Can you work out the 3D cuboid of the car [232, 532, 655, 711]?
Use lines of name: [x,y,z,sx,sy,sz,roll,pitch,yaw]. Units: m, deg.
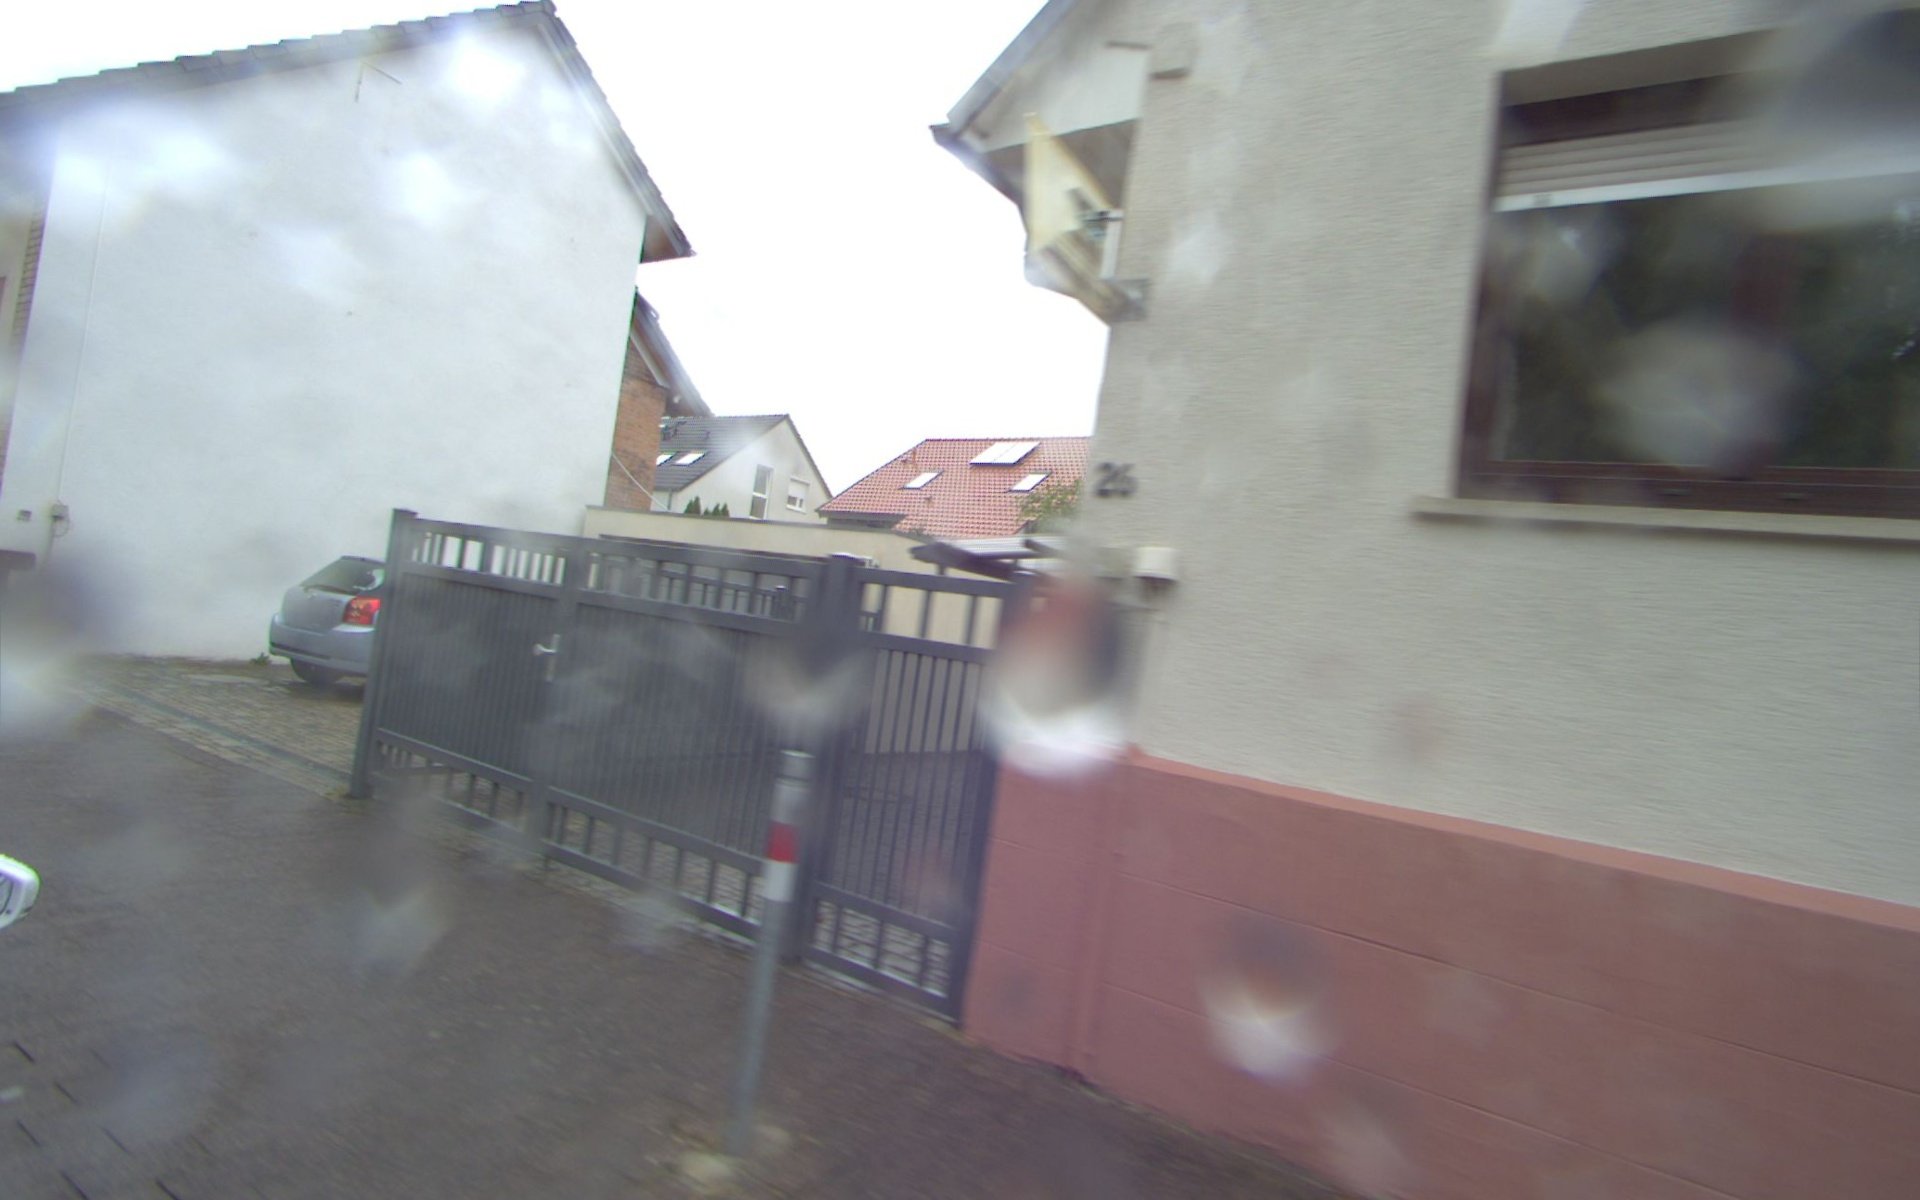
car: [-5.737,0.363,11.708,1.819,1.514,3.909,6,-4,28]
